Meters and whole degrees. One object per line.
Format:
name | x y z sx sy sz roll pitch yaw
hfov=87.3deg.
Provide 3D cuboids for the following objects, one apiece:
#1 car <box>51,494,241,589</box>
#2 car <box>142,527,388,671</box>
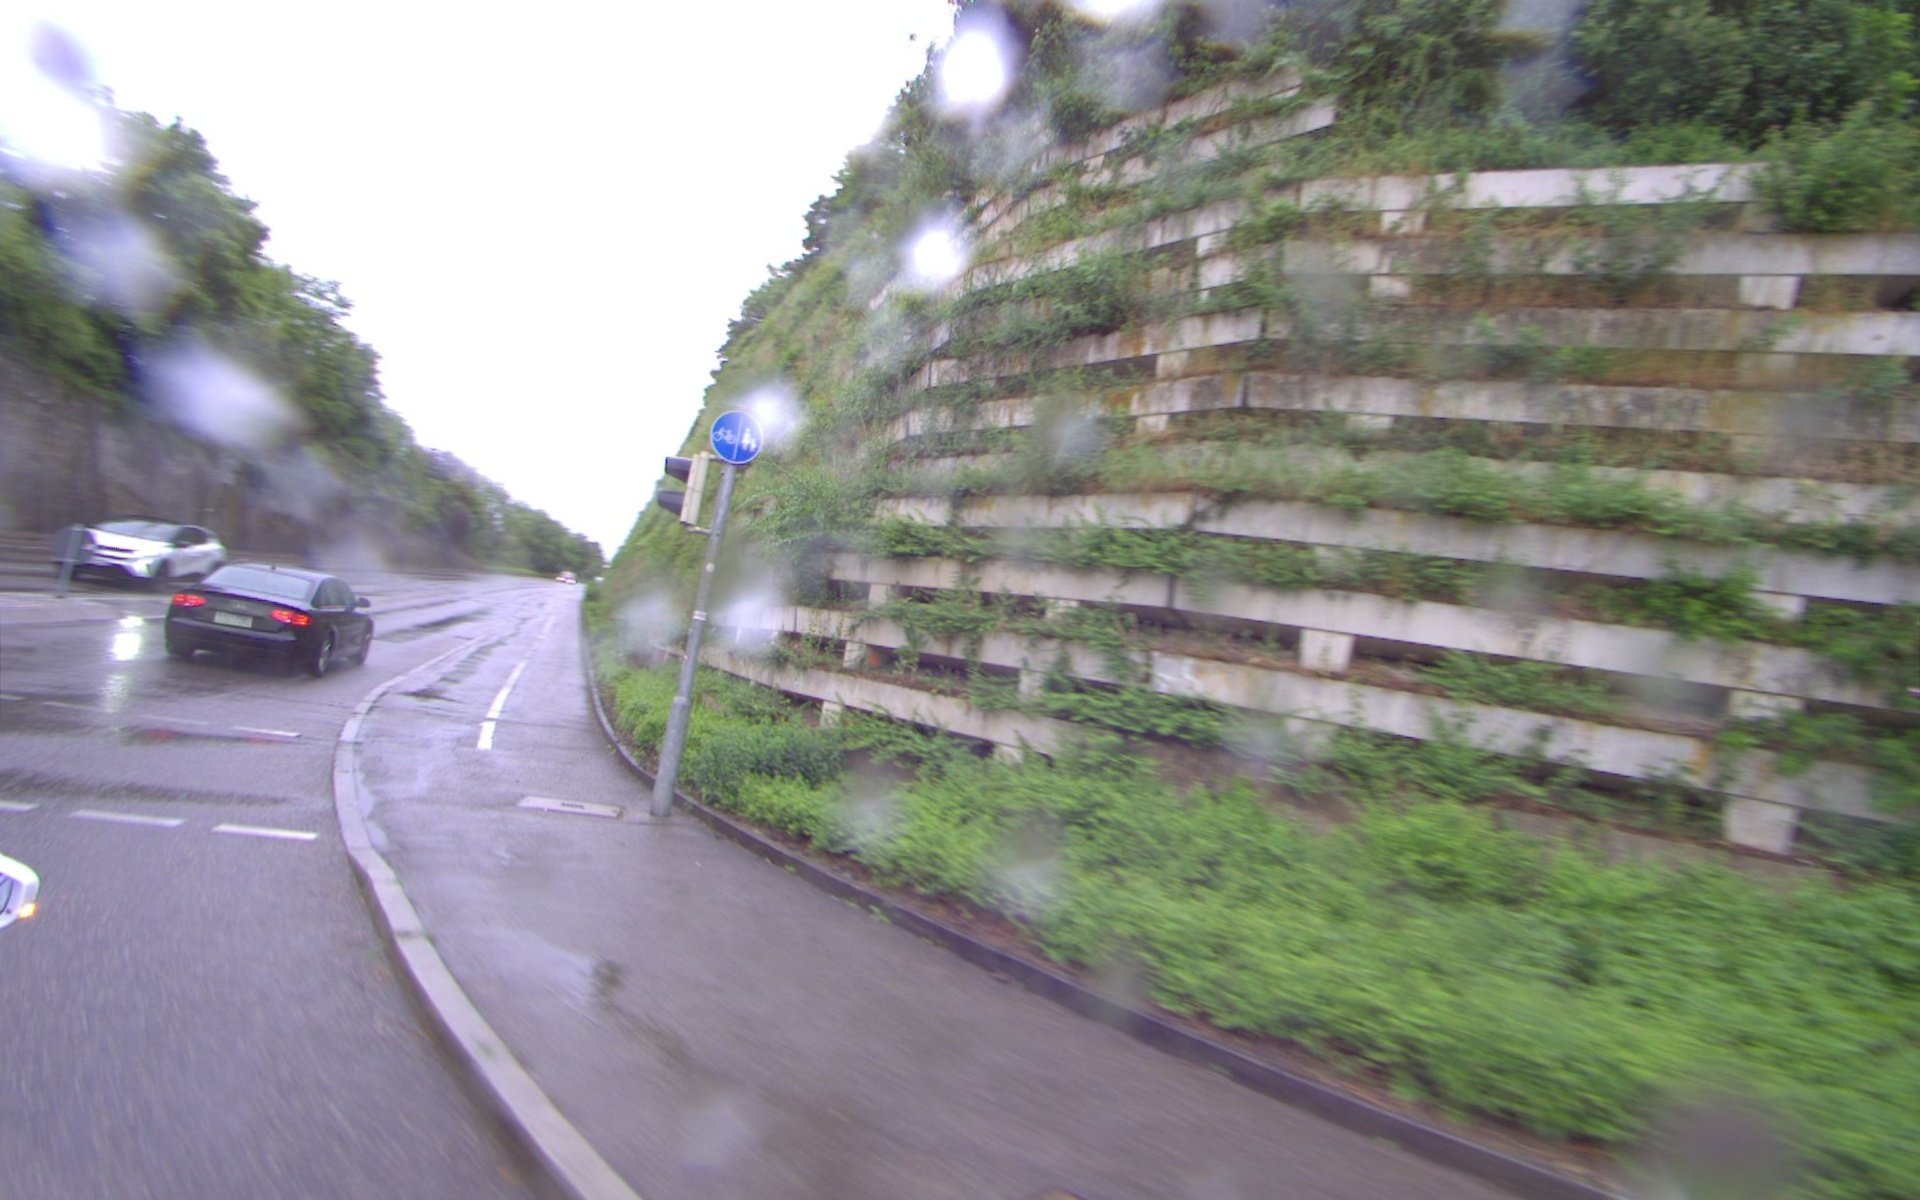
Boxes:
car | -18.227 -1.230 22.787 1.848 1.619 3.987 9 -2 -18
car | -9.741 -0.019 14.504 1.875 1.508 4.187 9 -3 -22
